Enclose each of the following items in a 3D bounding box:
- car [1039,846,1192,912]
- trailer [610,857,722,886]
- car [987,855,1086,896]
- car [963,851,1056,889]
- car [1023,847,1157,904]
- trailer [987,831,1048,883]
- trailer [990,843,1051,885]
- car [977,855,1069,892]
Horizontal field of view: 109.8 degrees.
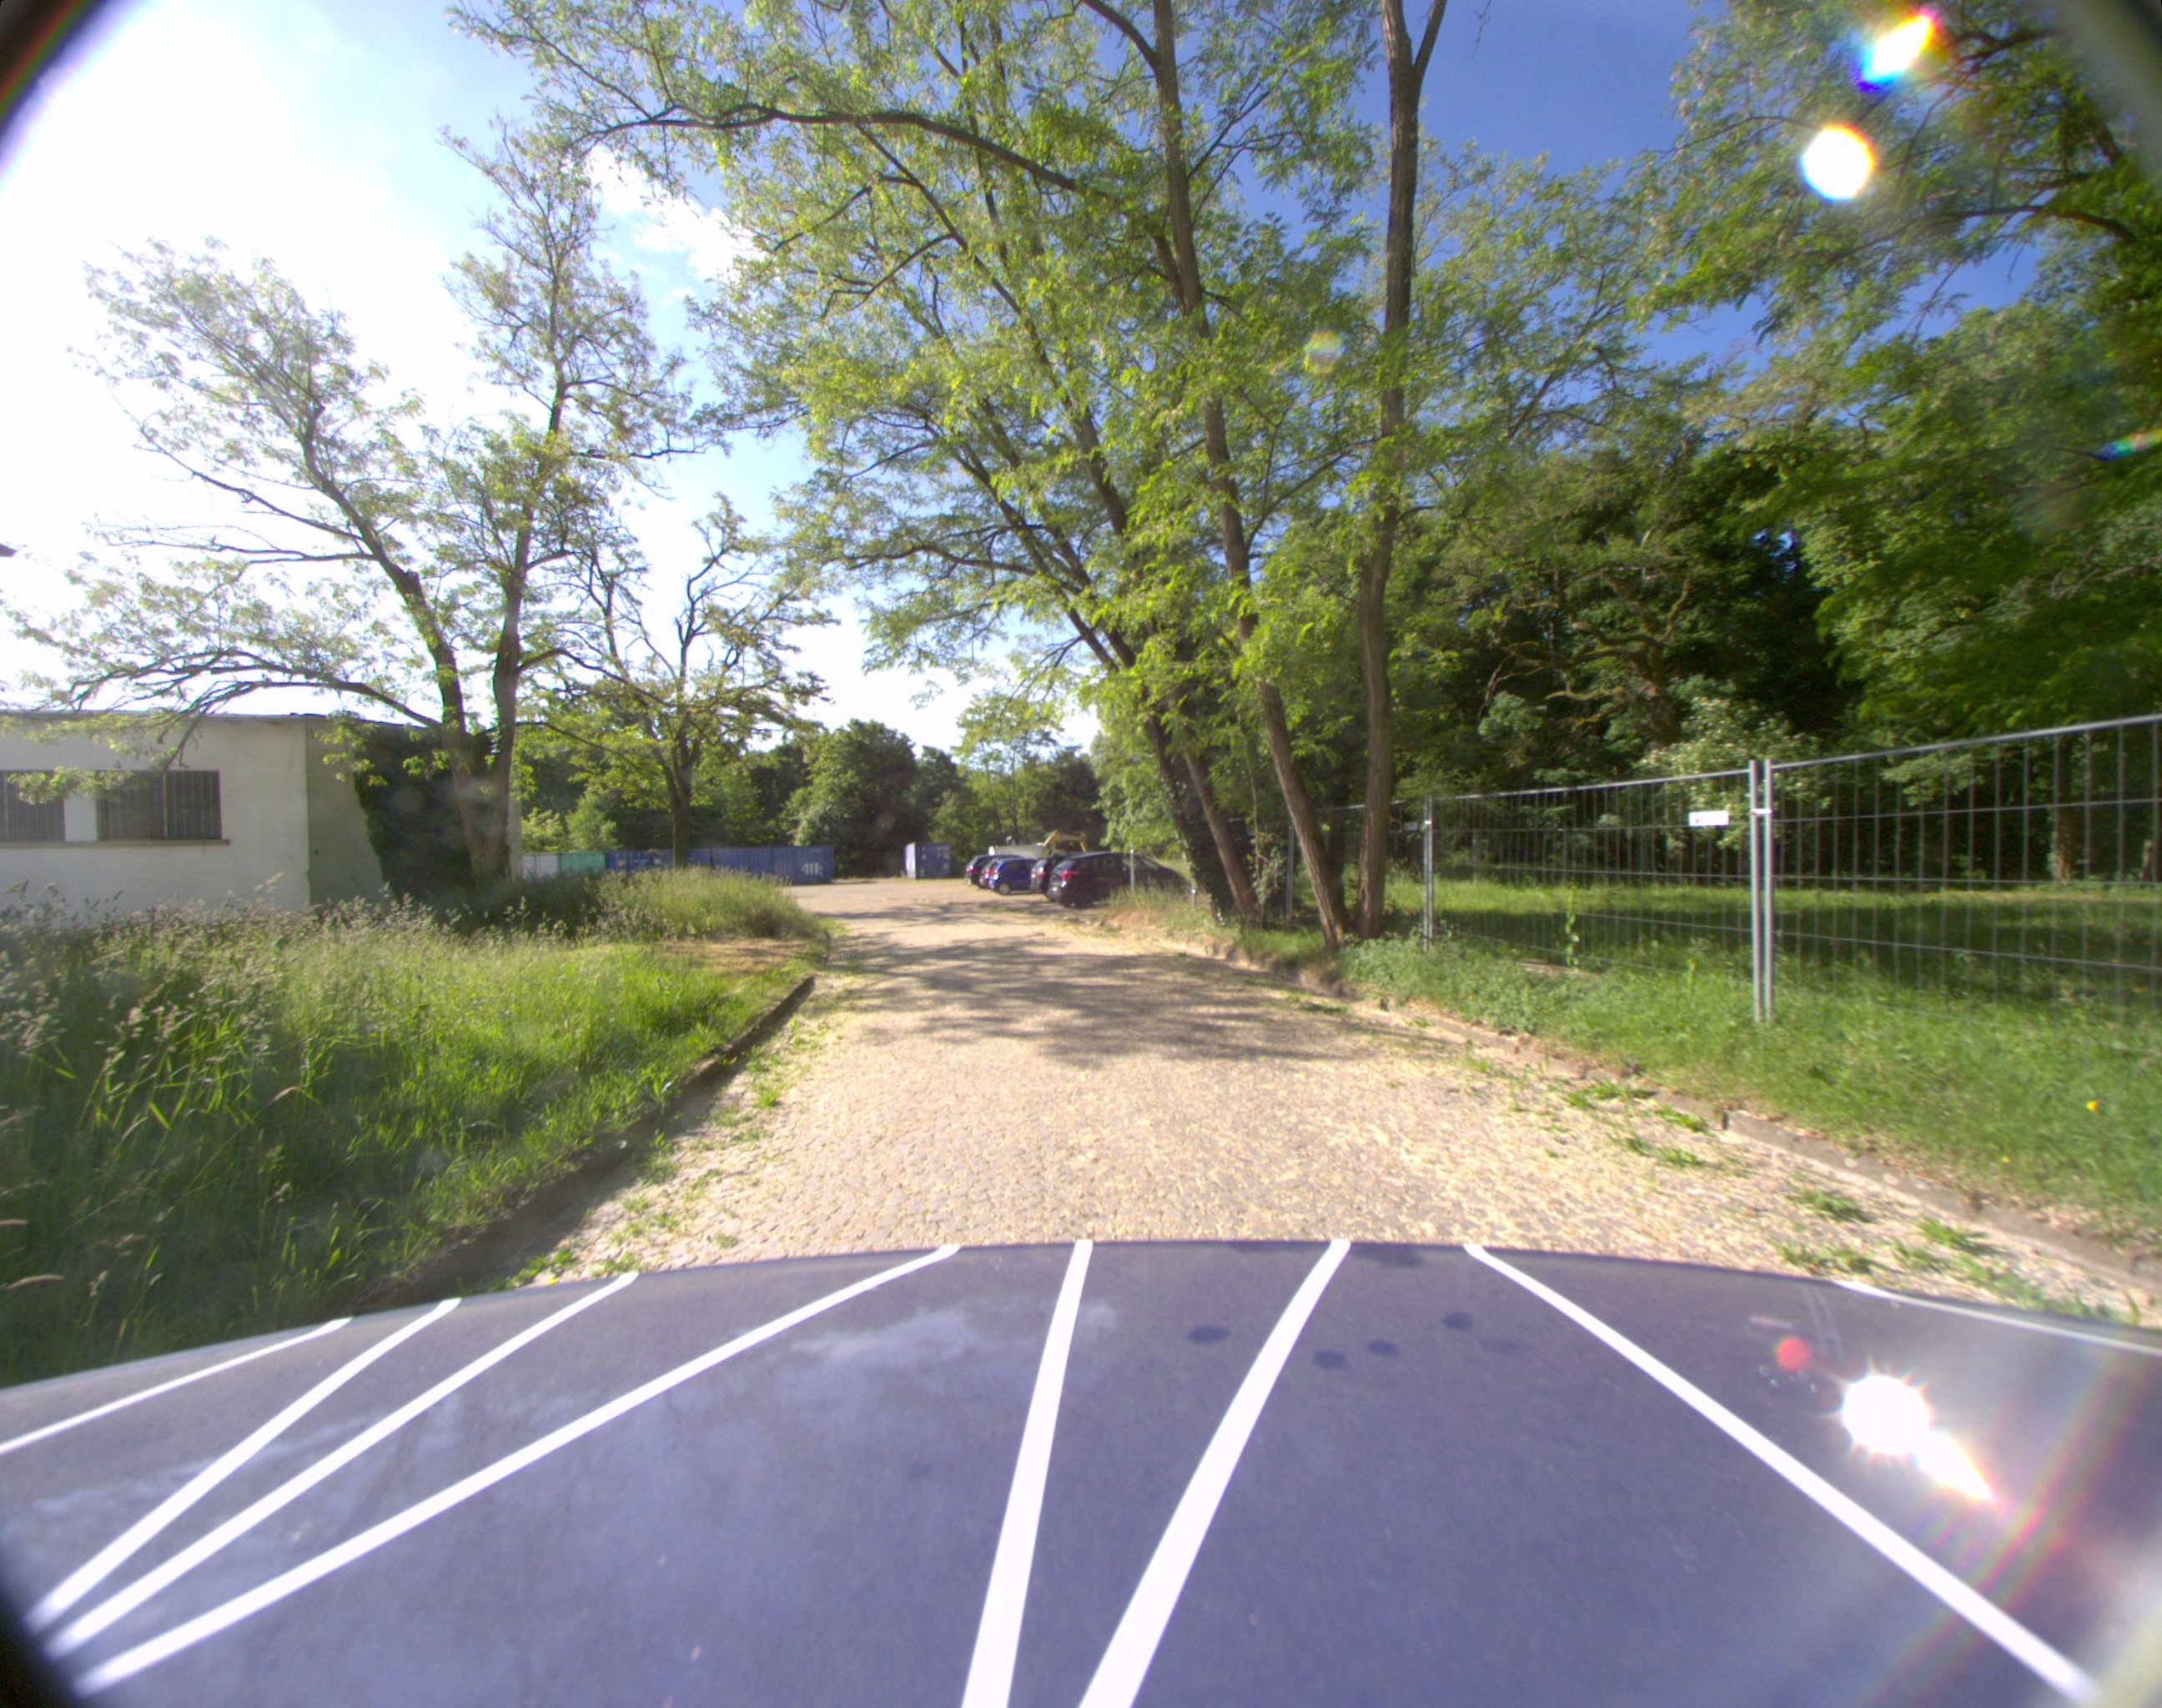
[{"bbox_3d":[1.071,0.744,23.801,4.276,1.580,1.827,-5,1,-20],"label":"car"},{"bbox_3d":[-22.611,0.905,41.655,4.864,1.406,2.645,-1,1,-16],"label":"trailer"},{"bbox_3d":[-1.894,0.858,31.894,3.791,1.450,1.783,-3,1,-15],"label":"car"},{"bbox_3d":[-3.471,0.753,36.835,4.133,1.581,1.967,-3,1,-16],"label":"car"},{"bbox_3d":[0.301,0.718,27.037,4.276,1.622,1.877,-4,2,-20],"label":"car"},{"bbox_3d":[-3.525,0.141,42.005,2.851,2.525,2.263,-5,2,-14],"label":"trailer"},{"bbox_3d":[-3.187,0.504,39.744,2.851,2.039,1.822,-3,1,-14],"label":"trailer"},{"bbox_3d":[-2.663,0.862,34.415,3.792,1.403,1.892,-3,1,-16],"label":"car"}]
